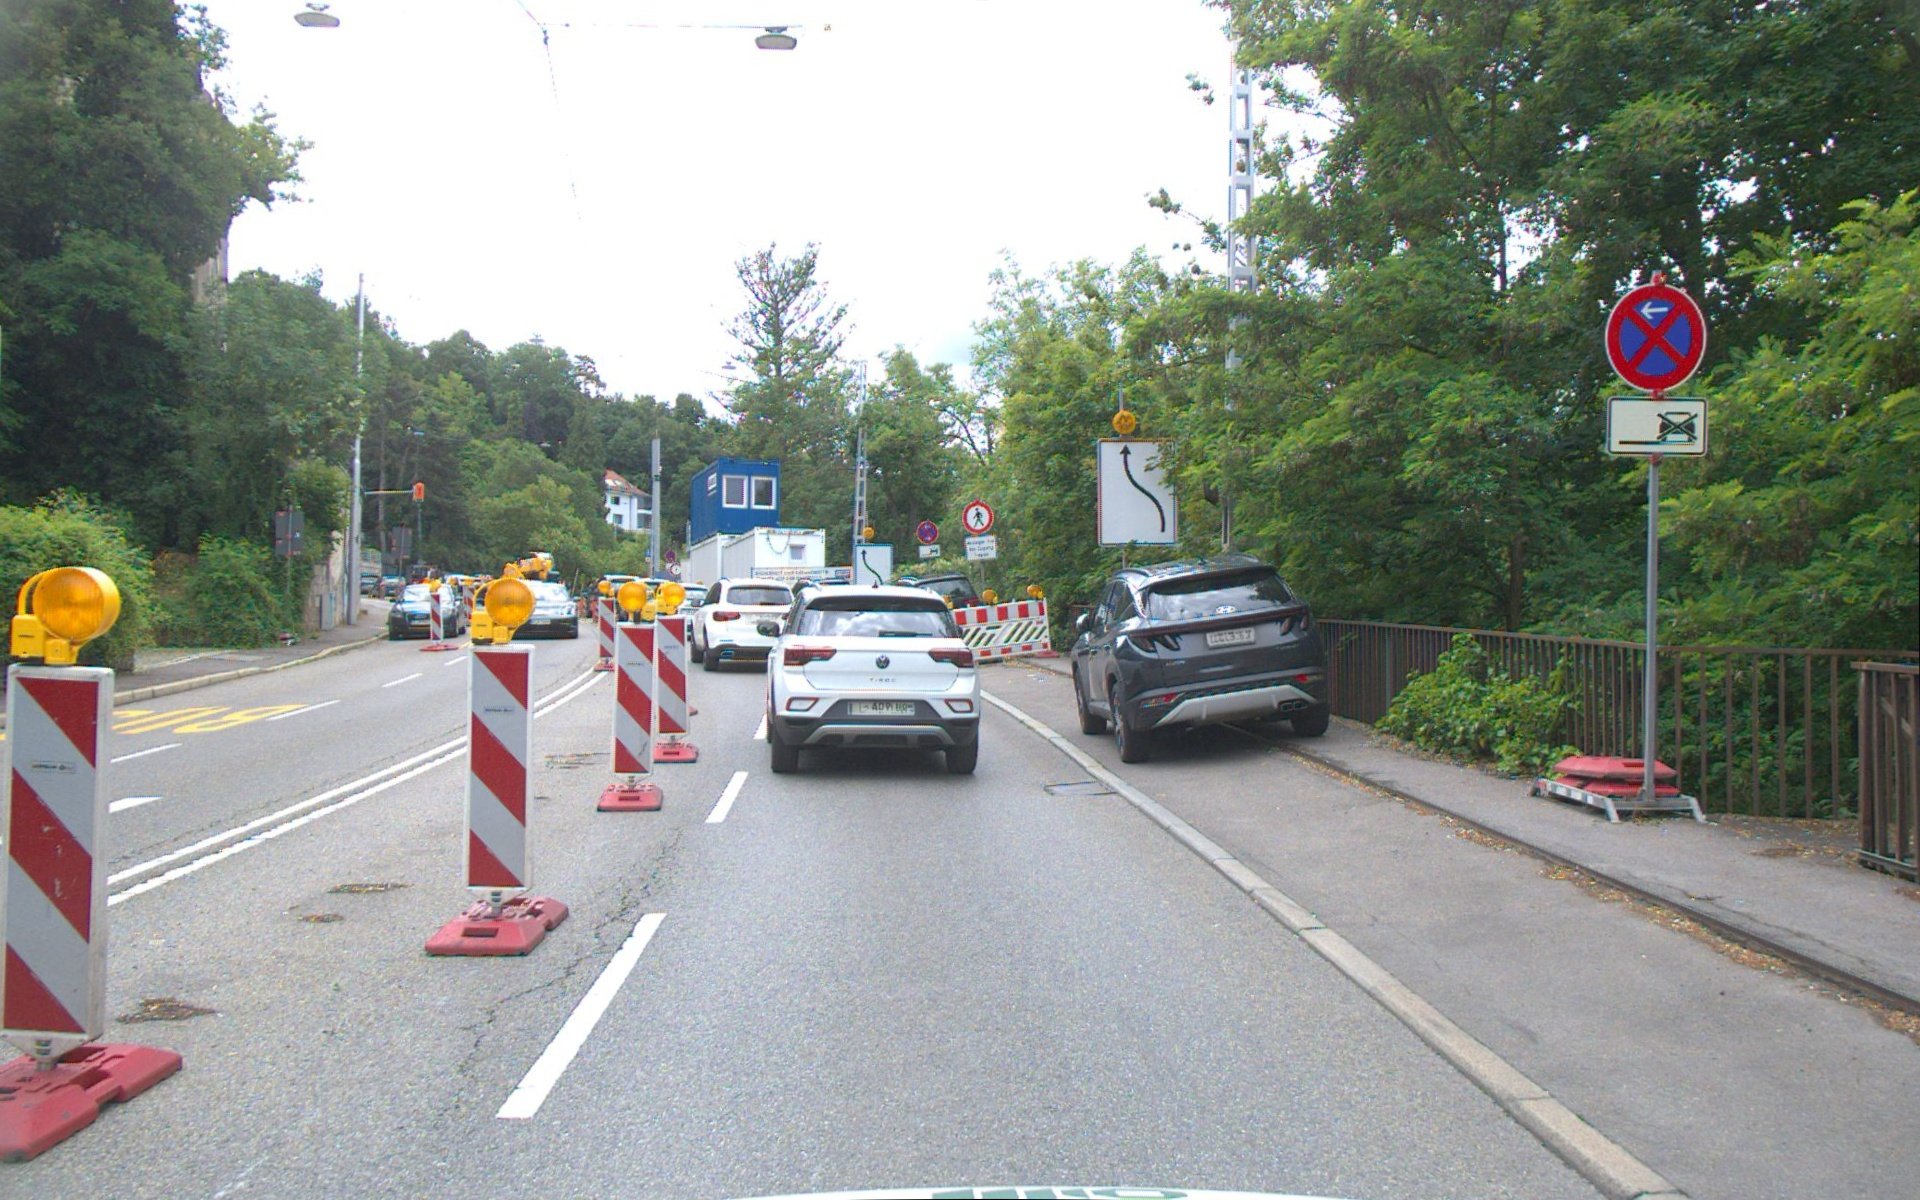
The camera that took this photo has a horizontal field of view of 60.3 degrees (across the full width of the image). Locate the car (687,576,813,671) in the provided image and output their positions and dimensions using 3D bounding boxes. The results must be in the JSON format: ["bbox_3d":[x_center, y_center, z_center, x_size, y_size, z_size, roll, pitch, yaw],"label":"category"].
[{"bbox_3d":[-3.949,0.391,30.684,1.730,1.637,3.778,0,0,-17],"label":"car"}]

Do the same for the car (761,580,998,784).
[{"bbox_3d":[-0.847,0.623,14.883,1.725,1.583,3.787,0,0,-9],"label":"car"}]

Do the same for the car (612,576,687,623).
[{"bbox_3d":[-10.284,-0.005,54.592,1.962,1.439,4.130,-1,-1,-17],"label":"car"}]

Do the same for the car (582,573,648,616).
[{"bbox_3d":[-13.410,-0.243,64.186,1.964,1.583,4.127,-1,1,-20],"label":"car"}]

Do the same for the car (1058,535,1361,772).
[{"bbox_3d":[2.174,0.414,15.601,1.814,1.685,4.139,-8,1,-3],"label":"car"}]

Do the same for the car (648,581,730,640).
[{"bbox_3d":[-7.311,0.249,44.394,1.729,1.497,3.778,0,0,-16],"label":"car"}]

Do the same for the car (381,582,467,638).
[{"bbox_3d":[-14.387,0.239,44.593,1.863,1.406,3.986,-1,1,-13],"label":"car"}]

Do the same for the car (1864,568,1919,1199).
[{"bbox_3d":[2.949,0.616,1.417,1.772,1.488,4.191,-6,1,-3],"label":"car"}]

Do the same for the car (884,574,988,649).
[{"bbox_3d":[-0.597,0.239,37.674,1.685,1.544,3.650,-3,1,-11],"label":"car"}]

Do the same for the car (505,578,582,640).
[{"bbox_3d":[-10.988,0.206,43.734,1.863,1.520,3.986,-1,1,-13],"label":"car"}]

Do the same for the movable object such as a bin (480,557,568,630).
[{"bbox_3d":[-23.887,-0.374,90.431,3.486,3.764,7.437,-1,1,-24],"label":"movable object such as a bin"}]

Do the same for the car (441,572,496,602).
[{"bbox_3d":[-26.159,-0.668,87.929,1.972,1.475,4.110,-1,0,-29],"label":"car"}]
